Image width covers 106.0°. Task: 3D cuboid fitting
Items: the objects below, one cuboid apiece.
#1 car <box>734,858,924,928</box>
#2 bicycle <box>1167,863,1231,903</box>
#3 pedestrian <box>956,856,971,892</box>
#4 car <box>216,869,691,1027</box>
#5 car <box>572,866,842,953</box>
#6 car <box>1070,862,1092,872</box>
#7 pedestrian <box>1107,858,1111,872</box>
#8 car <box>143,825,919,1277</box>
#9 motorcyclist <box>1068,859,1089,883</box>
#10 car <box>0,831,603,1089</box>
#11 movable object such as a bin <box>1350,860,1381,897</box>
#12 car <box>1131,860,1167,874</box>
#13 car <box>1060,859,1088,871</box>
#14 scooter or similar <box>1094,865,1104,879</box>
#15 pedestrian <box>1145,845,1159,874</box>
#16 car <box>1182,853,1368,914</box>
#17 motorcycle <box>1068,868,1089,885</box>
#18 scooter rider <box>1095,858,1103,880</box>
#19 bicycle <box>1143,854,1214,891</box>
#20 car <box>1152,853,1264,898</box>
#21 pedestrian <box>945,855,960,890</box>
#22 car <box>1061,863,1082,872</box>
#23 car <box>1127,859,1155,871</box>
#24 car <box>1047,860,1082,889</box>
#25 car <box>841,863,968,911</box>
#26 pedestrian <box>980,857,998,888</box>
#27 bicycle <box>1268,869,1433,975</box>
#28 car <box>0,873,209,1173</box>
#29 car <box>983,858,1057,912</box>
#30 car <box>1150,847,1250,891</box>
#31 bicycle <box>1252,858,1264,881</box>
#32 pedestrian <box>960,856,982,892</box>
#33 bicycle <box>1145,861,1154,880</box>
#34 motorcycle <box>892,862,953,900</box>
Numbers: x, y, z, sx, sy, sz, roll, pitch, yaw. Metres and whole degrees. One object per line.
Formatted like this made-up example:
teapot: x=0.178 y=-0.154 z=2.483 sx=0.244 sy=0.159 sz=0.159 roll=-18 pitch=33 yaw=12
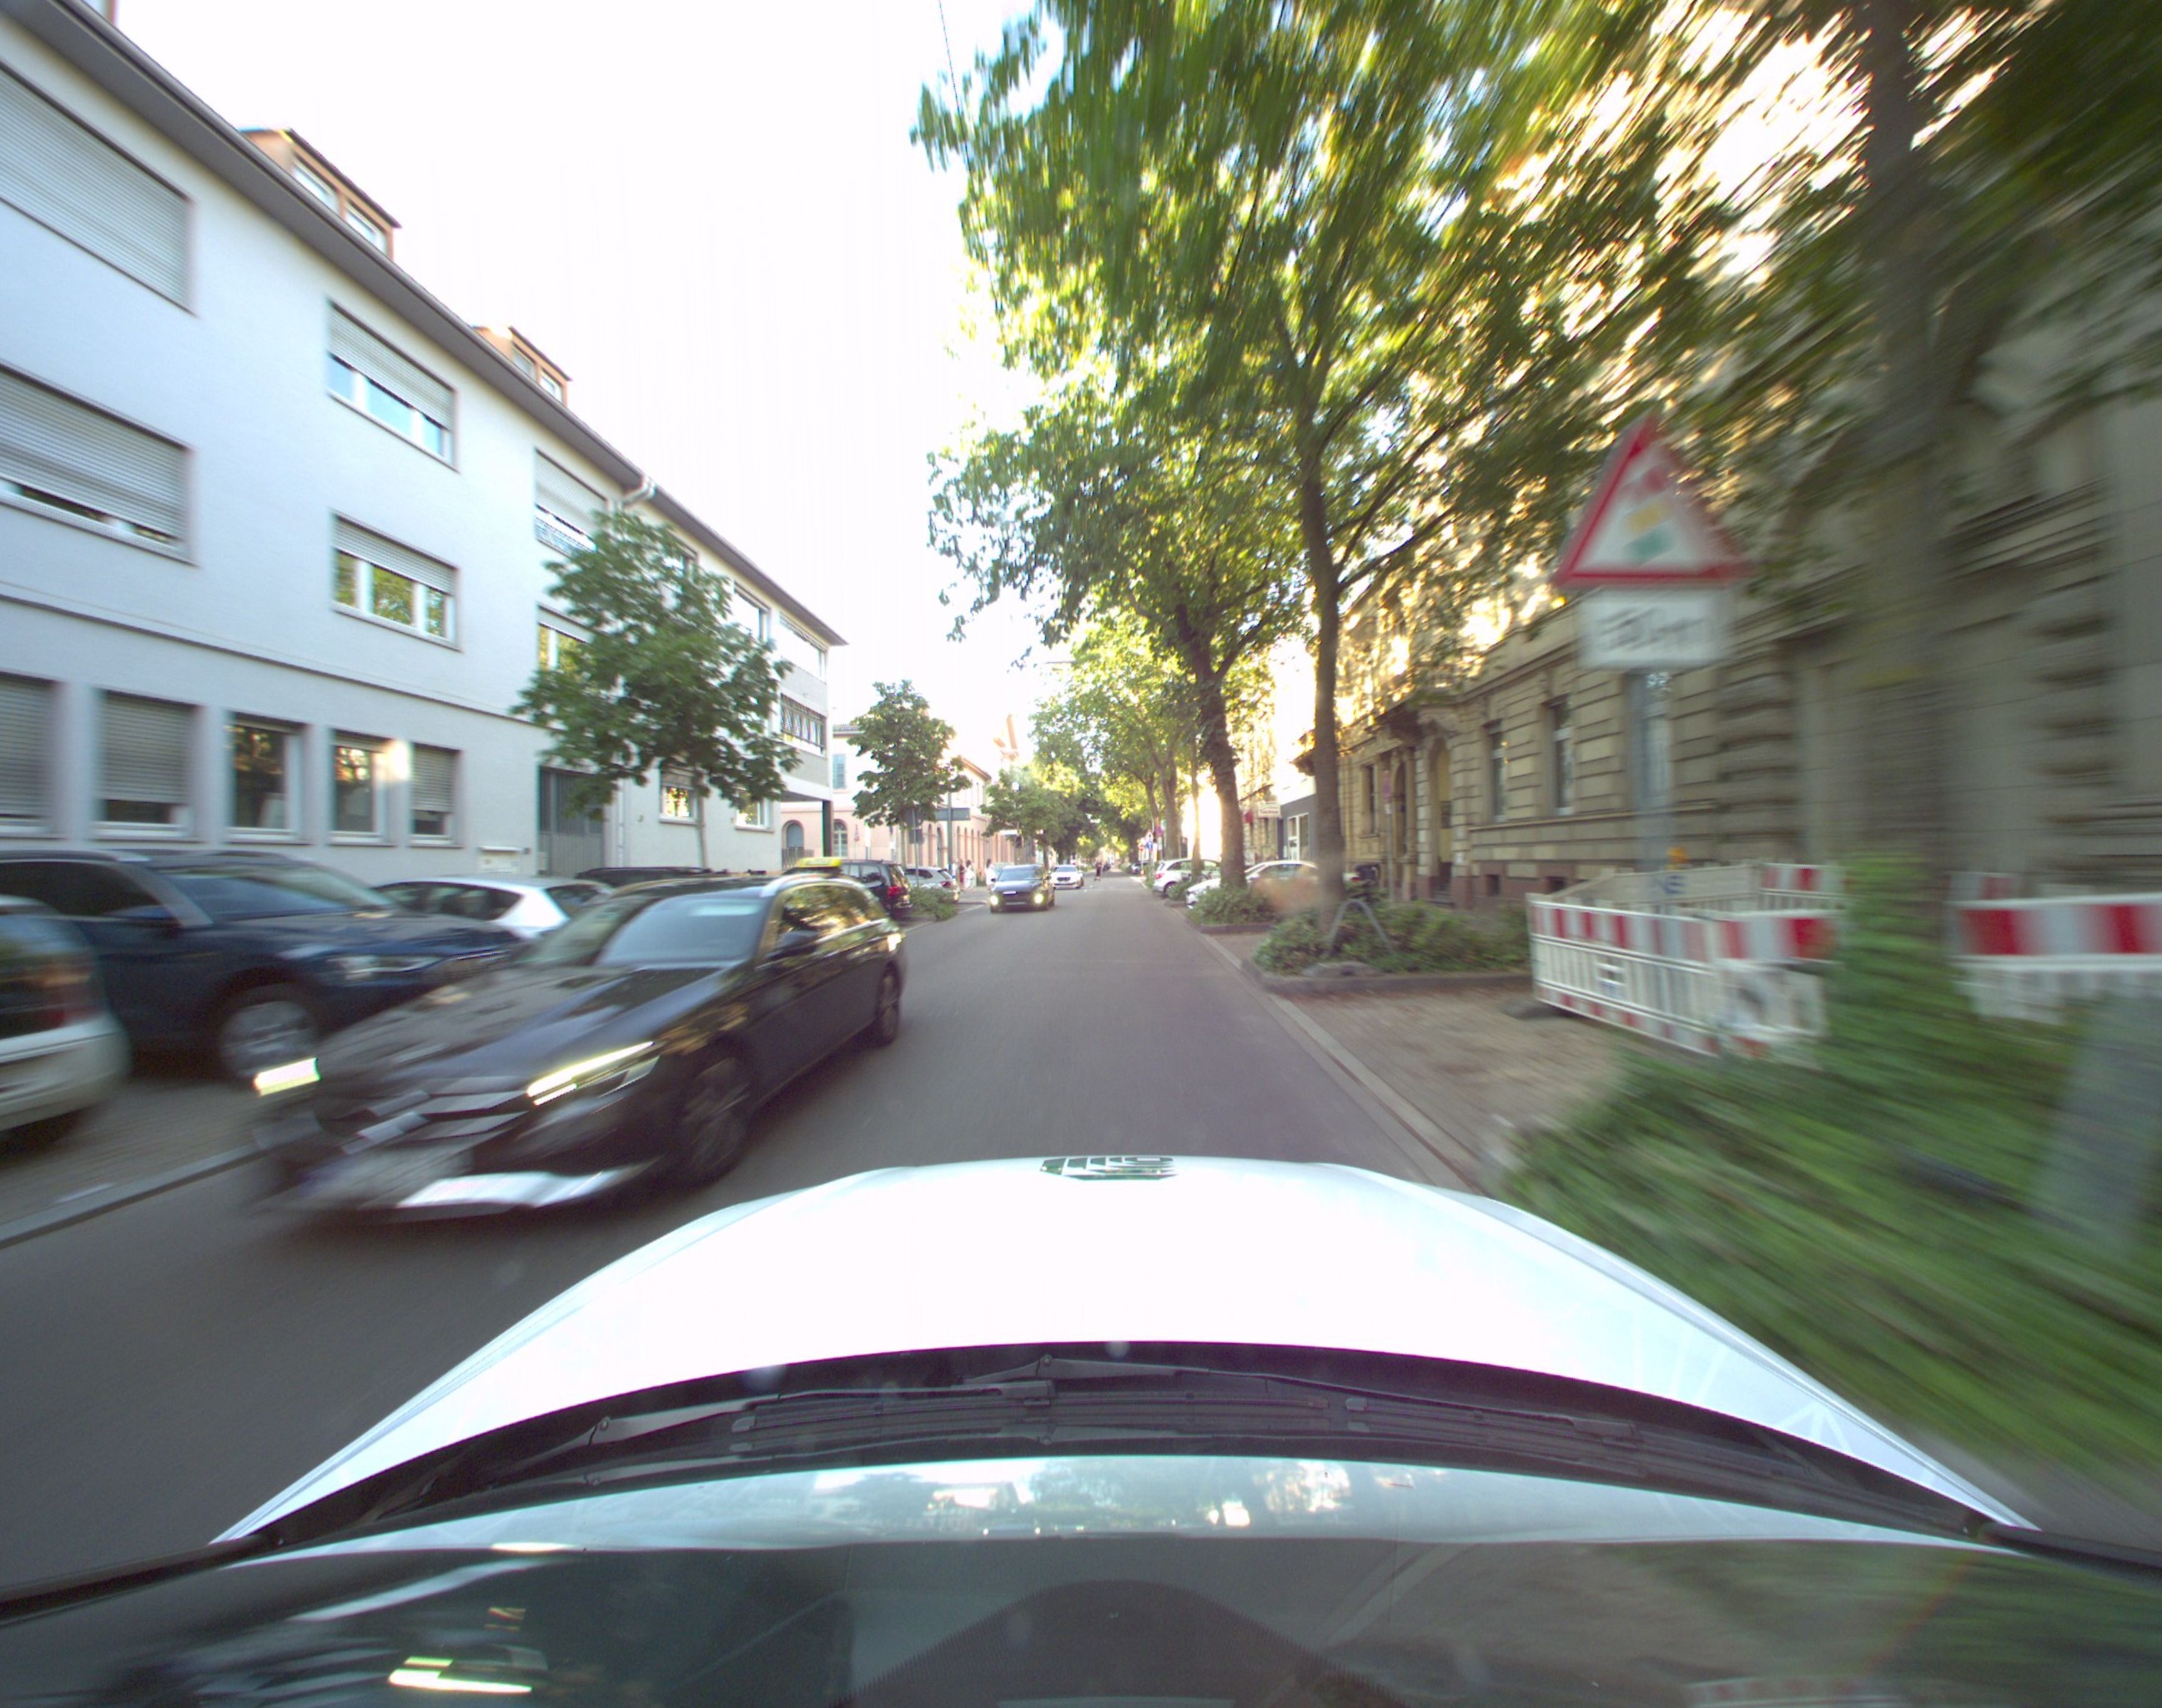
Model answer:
car: x=-6.163 y=0.937 z=20.261 sx=4.076 sy=1.632 sz=1.937 roll=0 pitch=-1 yaw=3
bicycle: x=3.969 y=0.965 z=27.374 sx=2.020 sy=1.204 sz=0.487 roll=-3 pitch=-1 yaw=-11
pedestrian: x=-6.235 y=1.065 z=43.074 sx=0.550 sy=1.850 sz=0.614 roll=-1 pitch=1 yaw=16
car: x=-6.805 y=0.944 z=9.099 sx=4.009 sy=1.494 sz=1.783 roll=1 pitch=-1 yaw=5
car: x=-6.679 y=0.955 z=14.820 sx=4.058 sy=1.440 sz=1.756 roll=0 pitch=-1 yaw=3
car: x=0.011 y=2.931 z=188.788 sx=5.043 sy=2.083 sz=2.265 roll=-2 pitch=-1 yaw=3
pedestrian: x=4.052 y=1.557 z=118.607 sx=0.500 sy=2.014 sz=0.621 roll=0 pitch=-1 yaw=3
car: x=-2.557 y=0.762 z=5.410 sx=1.870 sy=1.640 sz=4.647 roll=-2 pitch=-1 yaw=1
motorcyclist: x=-0.162 y=1.137 z=54.825 sx=1.275 sy=1.592 sz=1.078 roll=-1 pitch=-1 yaw=2
car: x=-6.901 y=0.744 z=6.694 sx=4.648 sy=1.765 sz=2.157 roll=0 pitch=-1 yaw=1
movable object such as a bin: x=8.446 y=0.723 z=24.188 sx=0.655 sy=1.064 sz=0.615 roll=-3 pitch=-2 yaw=2
car: x=8.133 y=1.520 z=98.252 sx=4.176 sy=1.480 sz=1.853 roll=-3 pitch=-1 yaw=2
car: x=-1.341 y=2.009 z=152.482 sx=5.045 sy=2.083 sz=2.264 roll=-2 pitch=-1 yaw=1
scooter or similar: x=1.488 y=1.499 z=67.125 sx=0.498 sy=1.145 sz=1.254 roll=-2 pitch=-2 yaw=13
pedestrian: x=5.373 y=0.443 z=61.804 sx=1.039 sy=2.146 sz=1.064 roll=0 pitch=-1 yaw=2
car: x=5.067 y=0.757 z=21.803 sx=4.563 sy=1.437 sz=1.927 roll=-2 pitch=0 yaw=4
motorcycle: x=-0.139 y=1.538 z=54.847 sx=1.307 sy=1.090 sz=2.397 roll=-1 pitch=-3 yaw=2
scooter rider: x=1.491 y=1.214 z=67.175 sx=0.491 sy=1.791 sz=0.877 roll=-2 pitch=-2 yaw=12
bicycle: x=4.398 y=0.836 z=36.915 sx=3.105 sy=1.663 sz=0.658 roll=-1 pitch=-1 yaw=-3
car: x=4.929 y=0.823 z=32.095 sx=4.204 sy=1.560 sz=1.973 roll=-2 pitch=0 yaw=5
pedestrian: x=-6.839 y=0.982 z=43.305 sx=0.550 sy=1.850 sz=0.614 roll=-2 pitch=-1 yaw=17
car: x=-1.712 y=2.380 z=147.089 sx=3.716 sy=1.508 sz=1.872 roll=-2 pitch=-1 yaw=-2
car: x=8.795 y=1.561 z=119.211 sx=4.000 sy=1.623 sz=1.781 roll=-2 pitch=-1 yaw=1
car: x=-0.926 y=1.192 z=48.242 sx=1.870 sy=1.549 sz=4.276 roll=-2 pitch=-1 yaw=1
car: x=-5.691 y=1.044 z=26.603 sx=3.728 sy=1.458 sz=1.735 roll=1 pitch=-1 yaw=1
pedestrian: x=-5.158 y=1.046 z=45.790 sx=0.769 sy=1.738 sz=0.848 roll=-1 pitch=-1 yaw=14
bicycle: x=3.551 y=0.889 z=10.809 sx=2.039 sy=1.360 sz=0.508 roll=0 pitch=0 yaw=0
car: x=-7.247 y=0.858 z=4.064 sx=3.830 sy=1.451 sz=1.856 roll=0 pitch=0 yaw=2
car: x=-1.877 y=0.950 z=26.413 sx=1.869 sy=1.549 sz=4.277 roll=-2 pitch=-1 yaw=2
car: x=5.725 y=0.716 z=39.692 sx=4.526 sy=1.915 sz=1.950 roll=-2 pitch=-1 yaw=-1
bicycle: x=9.649 y=0.861 z=44.411 sx=0.383 sy=1.211 sz=1.727 roll=-2 pitch=-1 yaw=4
pedestrian: x=-5.705 y=1.027 z=42.137 sx=0.783 sy=1.791 sz=0.776 roll=1 pitch=0 yaw=30
bicycle: x=5.076 y=1.238 z=60.383 sx=0.413 sy=1.372 sz=1.293 roll=-2 pitch=-1 yaw=13
motorcycle: x=-6.194 y=1.056 z=31.863 sx=2.129 sy=1.419 sz=0.973 roll=-2 pitch=-1 yaw=23
